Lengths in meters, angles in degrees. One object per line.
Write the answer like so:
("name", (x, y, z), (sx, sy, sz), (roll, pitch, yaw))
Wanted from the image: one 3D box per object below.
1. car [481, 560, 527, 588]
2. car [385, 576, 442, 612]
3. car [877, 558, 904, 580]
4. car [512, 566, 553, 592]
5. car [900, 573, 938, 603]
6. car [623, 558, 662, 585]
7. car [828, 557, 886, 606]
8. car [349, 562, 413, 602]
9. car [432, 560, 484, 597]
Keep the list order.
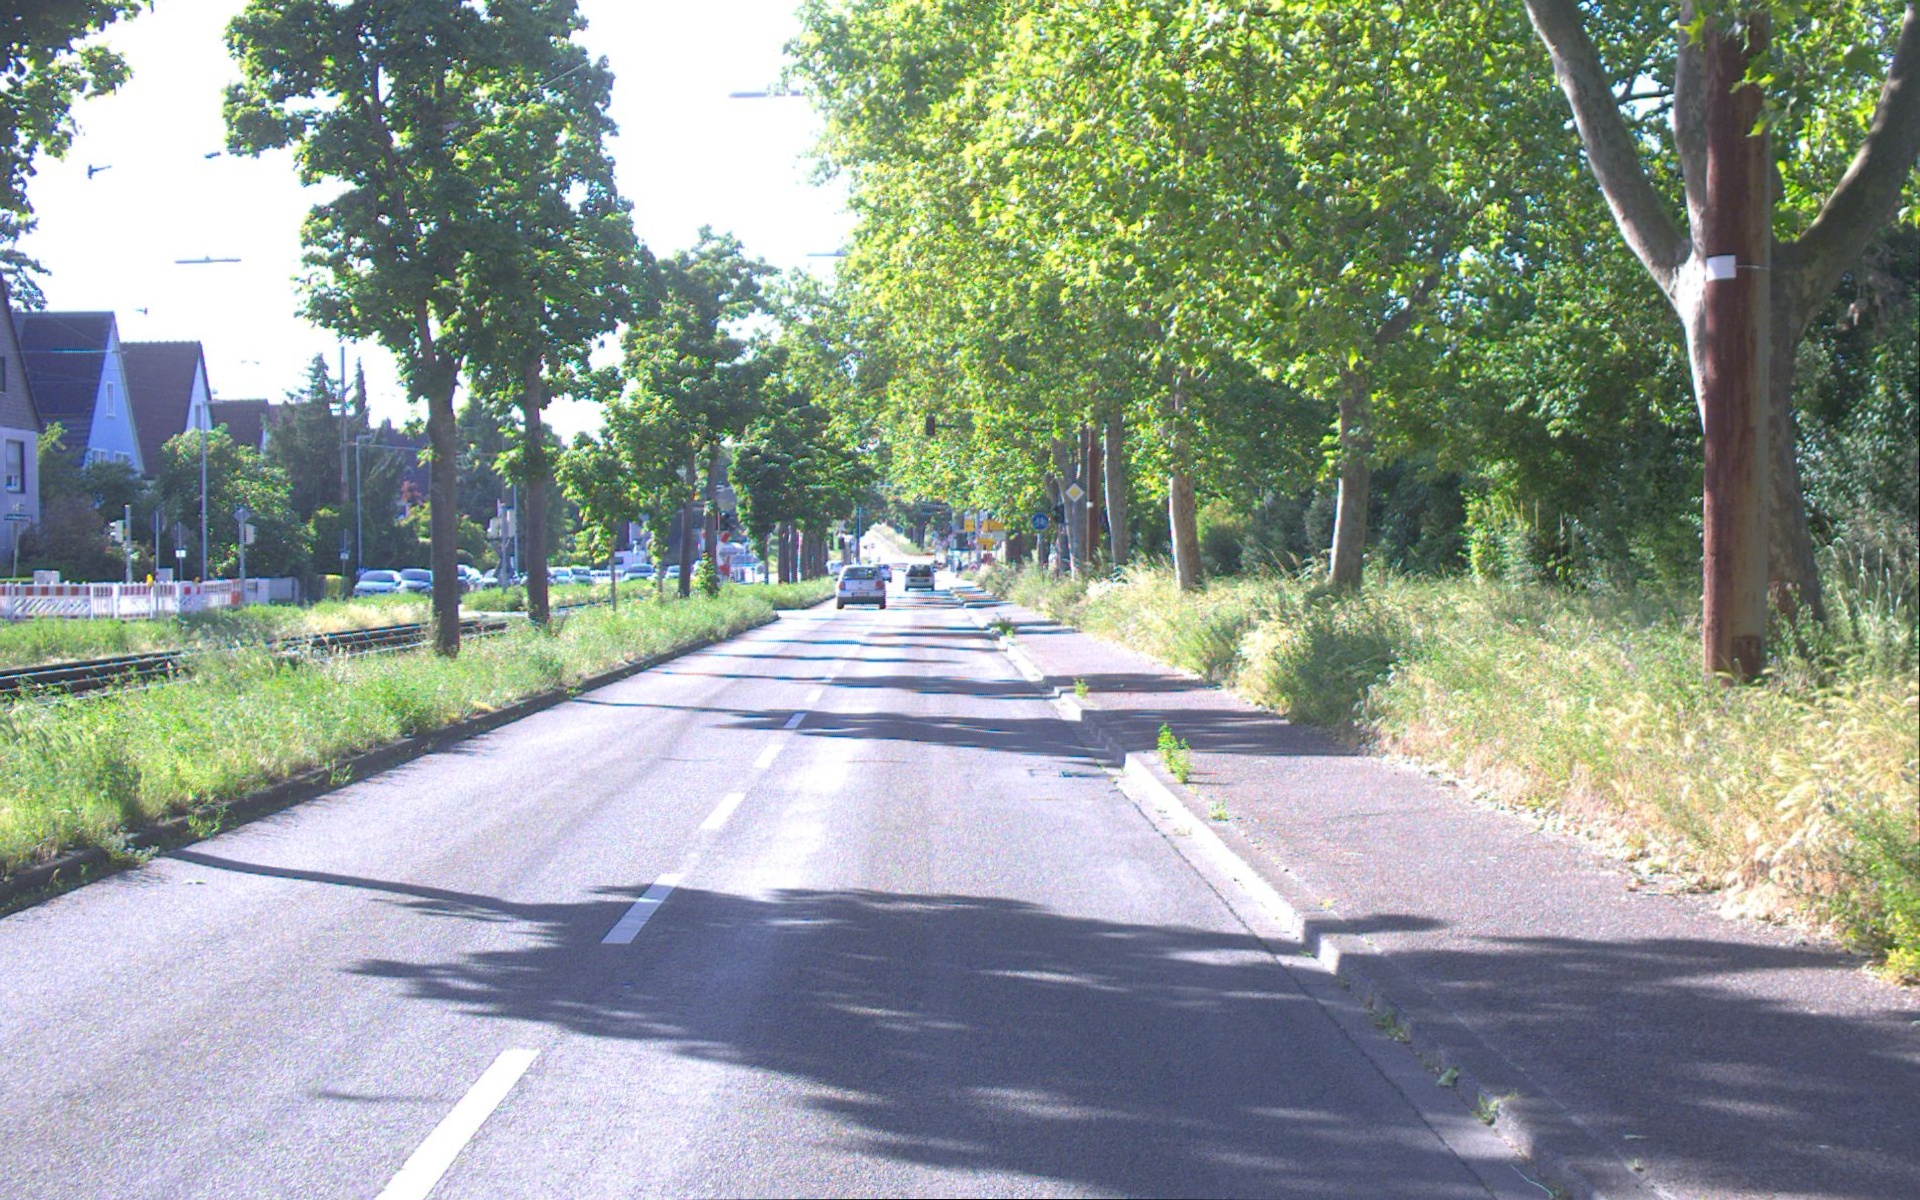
("car", (-23.190, -1.323, 174.898), (1.860, 1.365, 4.228), (1, 0, -1))
("car", (-22.929, -0.248, 144.364), (1.729, 1.461, 4.603), (1, 0, -1))
("car", (-5.161, -2.270, 254.952), (1.993, 1.598, 4.473), (1, 0, -1))
("car", (-24.085, -1.190, 193.655), (1.860, 1.408, 4.158), (1, 0, -1))
("car", (-2.258, -0.689, 188.040), (1.993, 1.598, 4.473), (1, 0, -1))
("car", (-19.166, -1.738, 207.433), (1.993, 1.598, 4.473), (1, 0, -1))
("car", (-3.386, -0.616, 113.552), (1.860, 1.595, 4.228), (1, 0, -1))
("car", (-22.803, -0.730, 135.504), (1.860, 1.537, 4.228), (1, 0, -1))
("car", (-22.701, -0.966, 155.660), (1.748, 1.645, 4.555), (1, 0, -1))
